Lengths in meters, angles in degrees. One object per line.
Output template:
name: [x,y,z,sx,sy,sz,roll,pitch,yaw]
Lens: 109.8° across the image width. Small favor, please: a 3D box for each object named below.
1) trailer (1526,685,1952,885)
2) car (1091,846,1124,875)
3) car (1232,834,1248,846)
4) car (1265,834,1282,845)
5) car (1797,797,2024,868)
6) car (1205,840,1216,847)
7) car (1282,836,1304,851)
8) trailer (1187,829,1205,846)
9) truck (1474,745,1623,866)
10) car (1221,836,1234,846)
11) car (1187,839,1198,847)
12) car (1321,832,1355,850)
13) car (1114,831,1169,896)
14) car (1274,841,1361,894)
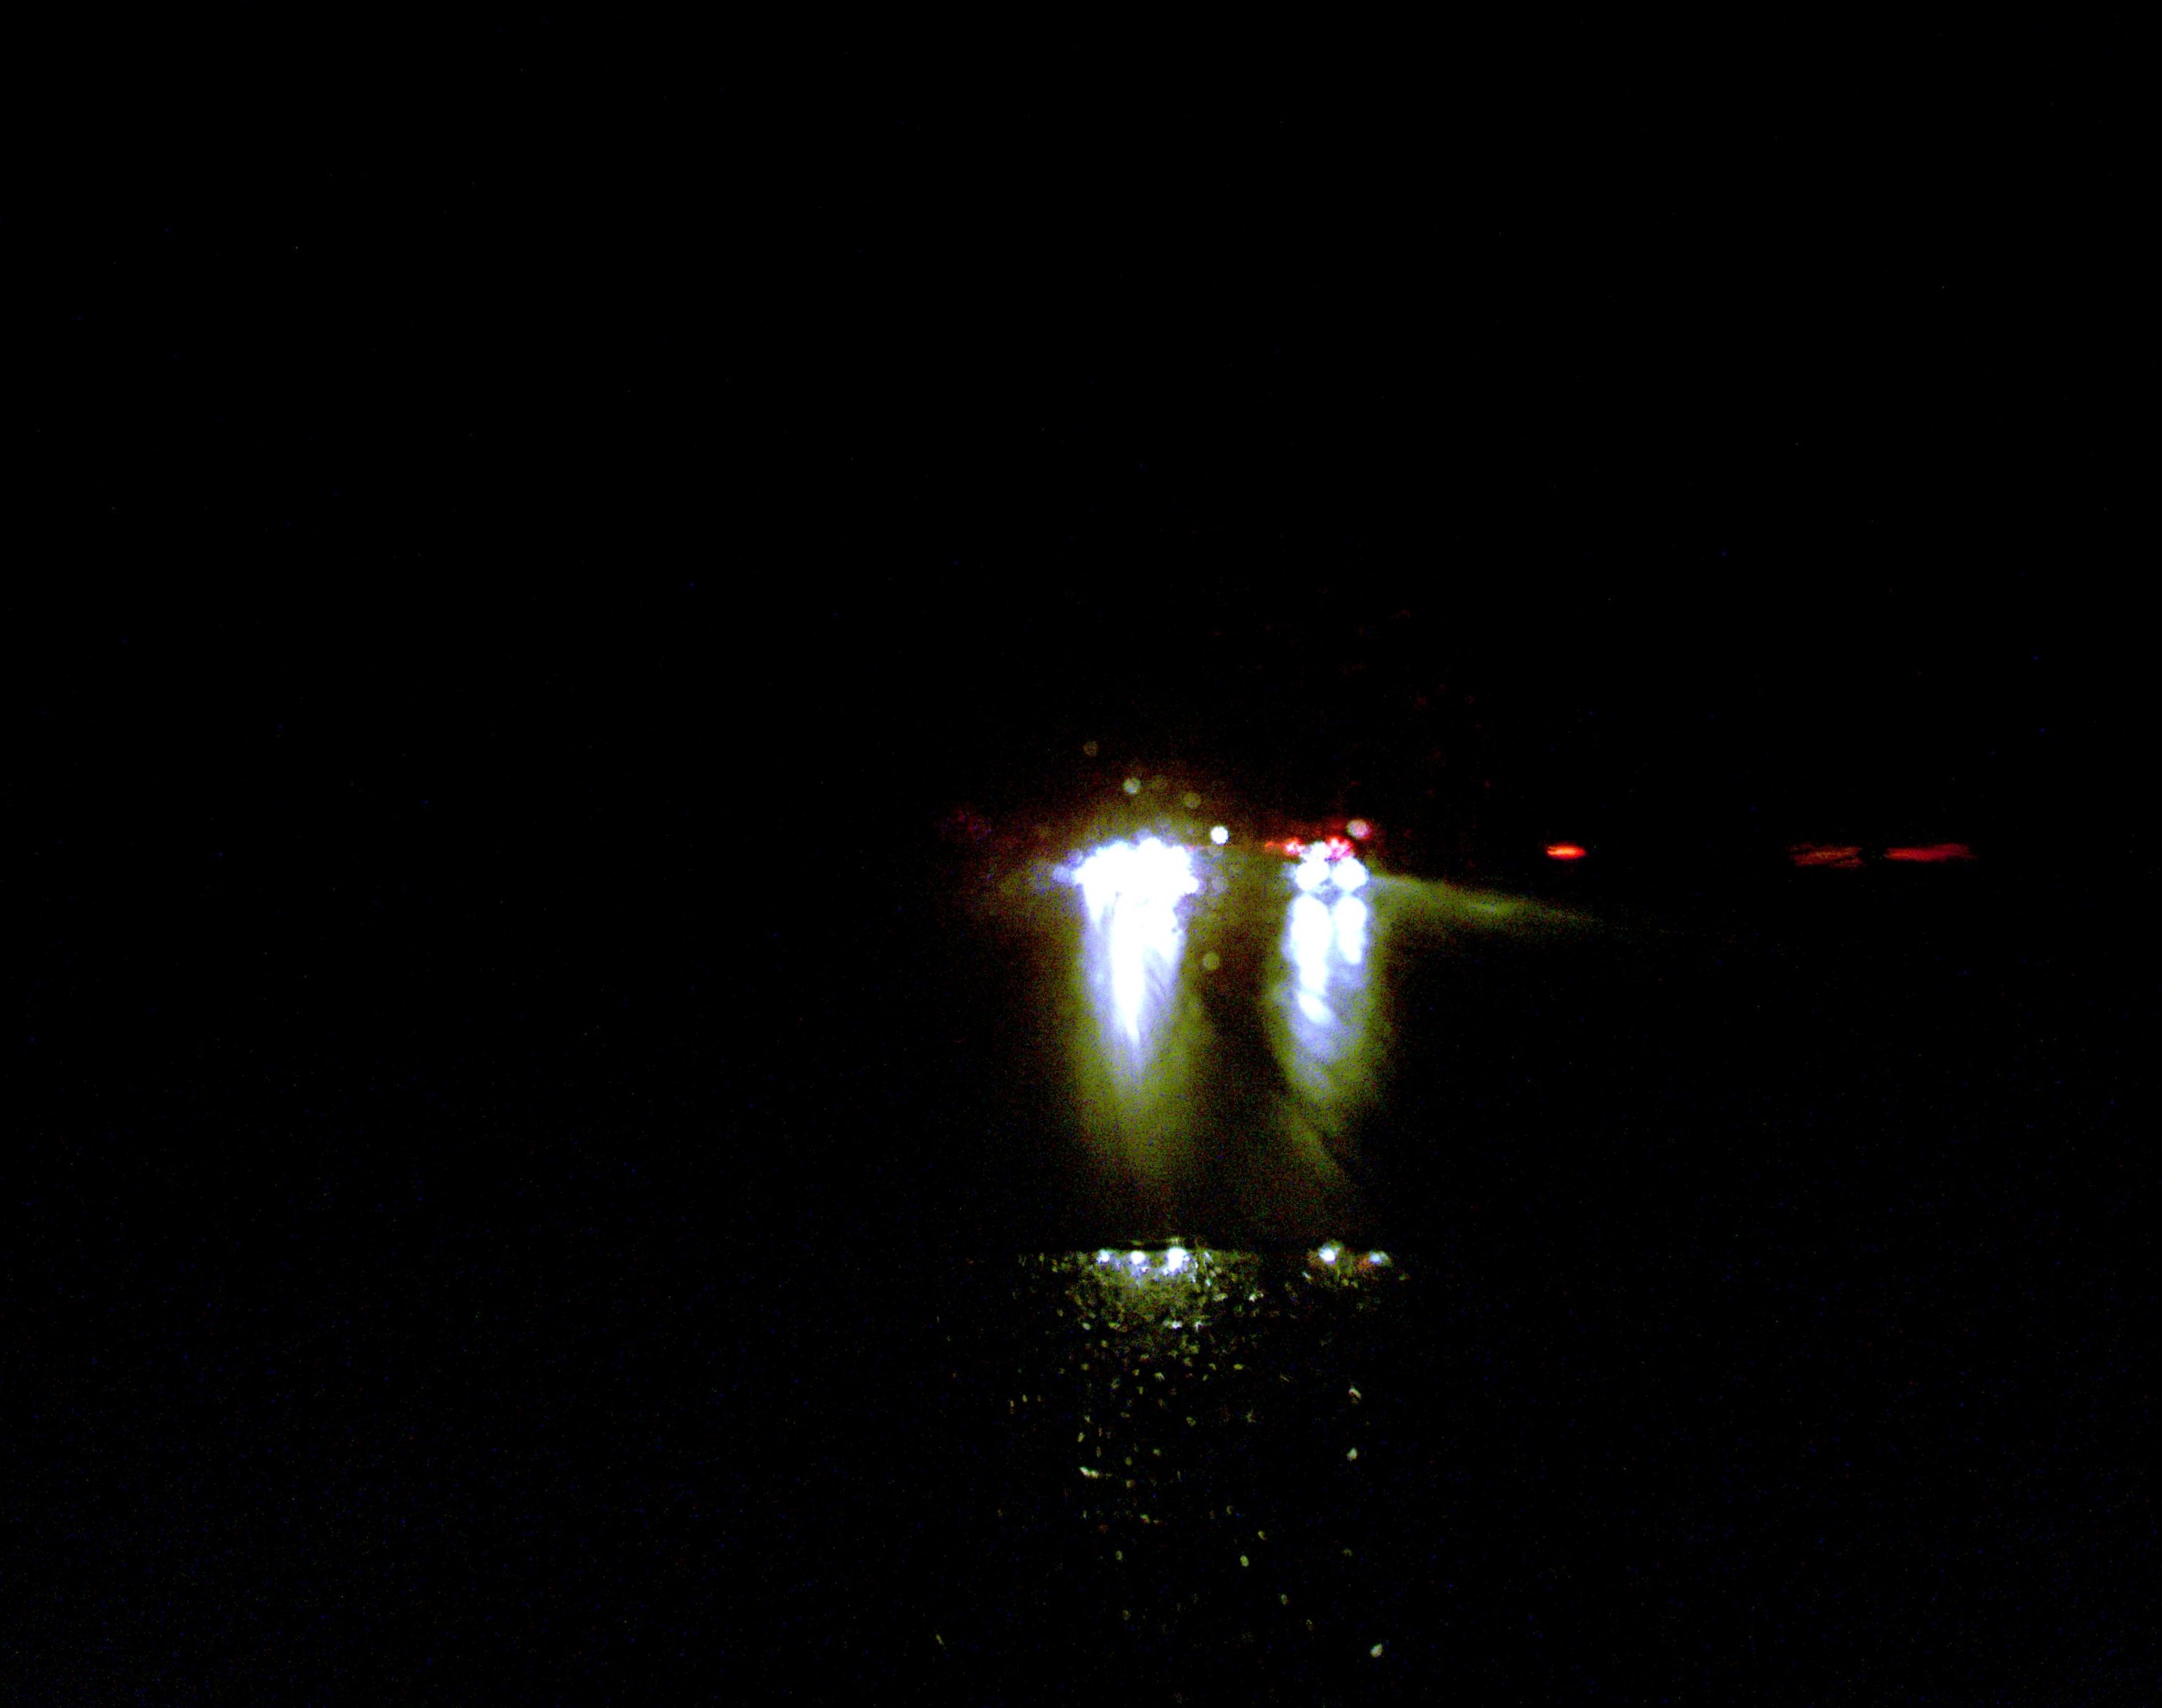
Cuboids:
trailer: [18.784,-1.696,23.697,2.581,4.432,12.491,-3,1,1]
car: [1.652,0.388,47.107,1.892,1.603,4.000,-2,1,3]
car: [26.791,-2.444,128.238,1.991,1.899,5.136,-2,1,4]
car: [27.685,-2.082,109.263,1.768,1.487,3.803,-2,1,4]
car: [23.124,-0.586,21.449,1.999,1.718,3.998,-2,1,-2]
car: [28.466,-2.321,166.866,1.843,1.386,4.168,-3,1,2]
car: [26.023,-1.273,93.274,1.812,1.602,4.201,-2,-1,5]
trailer: [28.069,-4.006,185.822,3.362,4.149,11.722,-1,1,4]
truck: [18.997,-1.884,31.337,2.570,4.379,5.850,-3,1,2]
car: [28.907,-2.658,150.505,1.895,1.899,4.844,-2,1,4]
car: [24.643,-2.468,168.488,1.886,1.500,4.306,-2,1,2]
car: [25.122,-1.281,74.423,1.846,1.638,4.332,-2,1,1]
car: [2.101,0.321,27.102,1.753,2.093,4.464,-1,0,3]
car: [7.719,0.411,25.106,1.654,1.566,3.849,-1,0,0]
